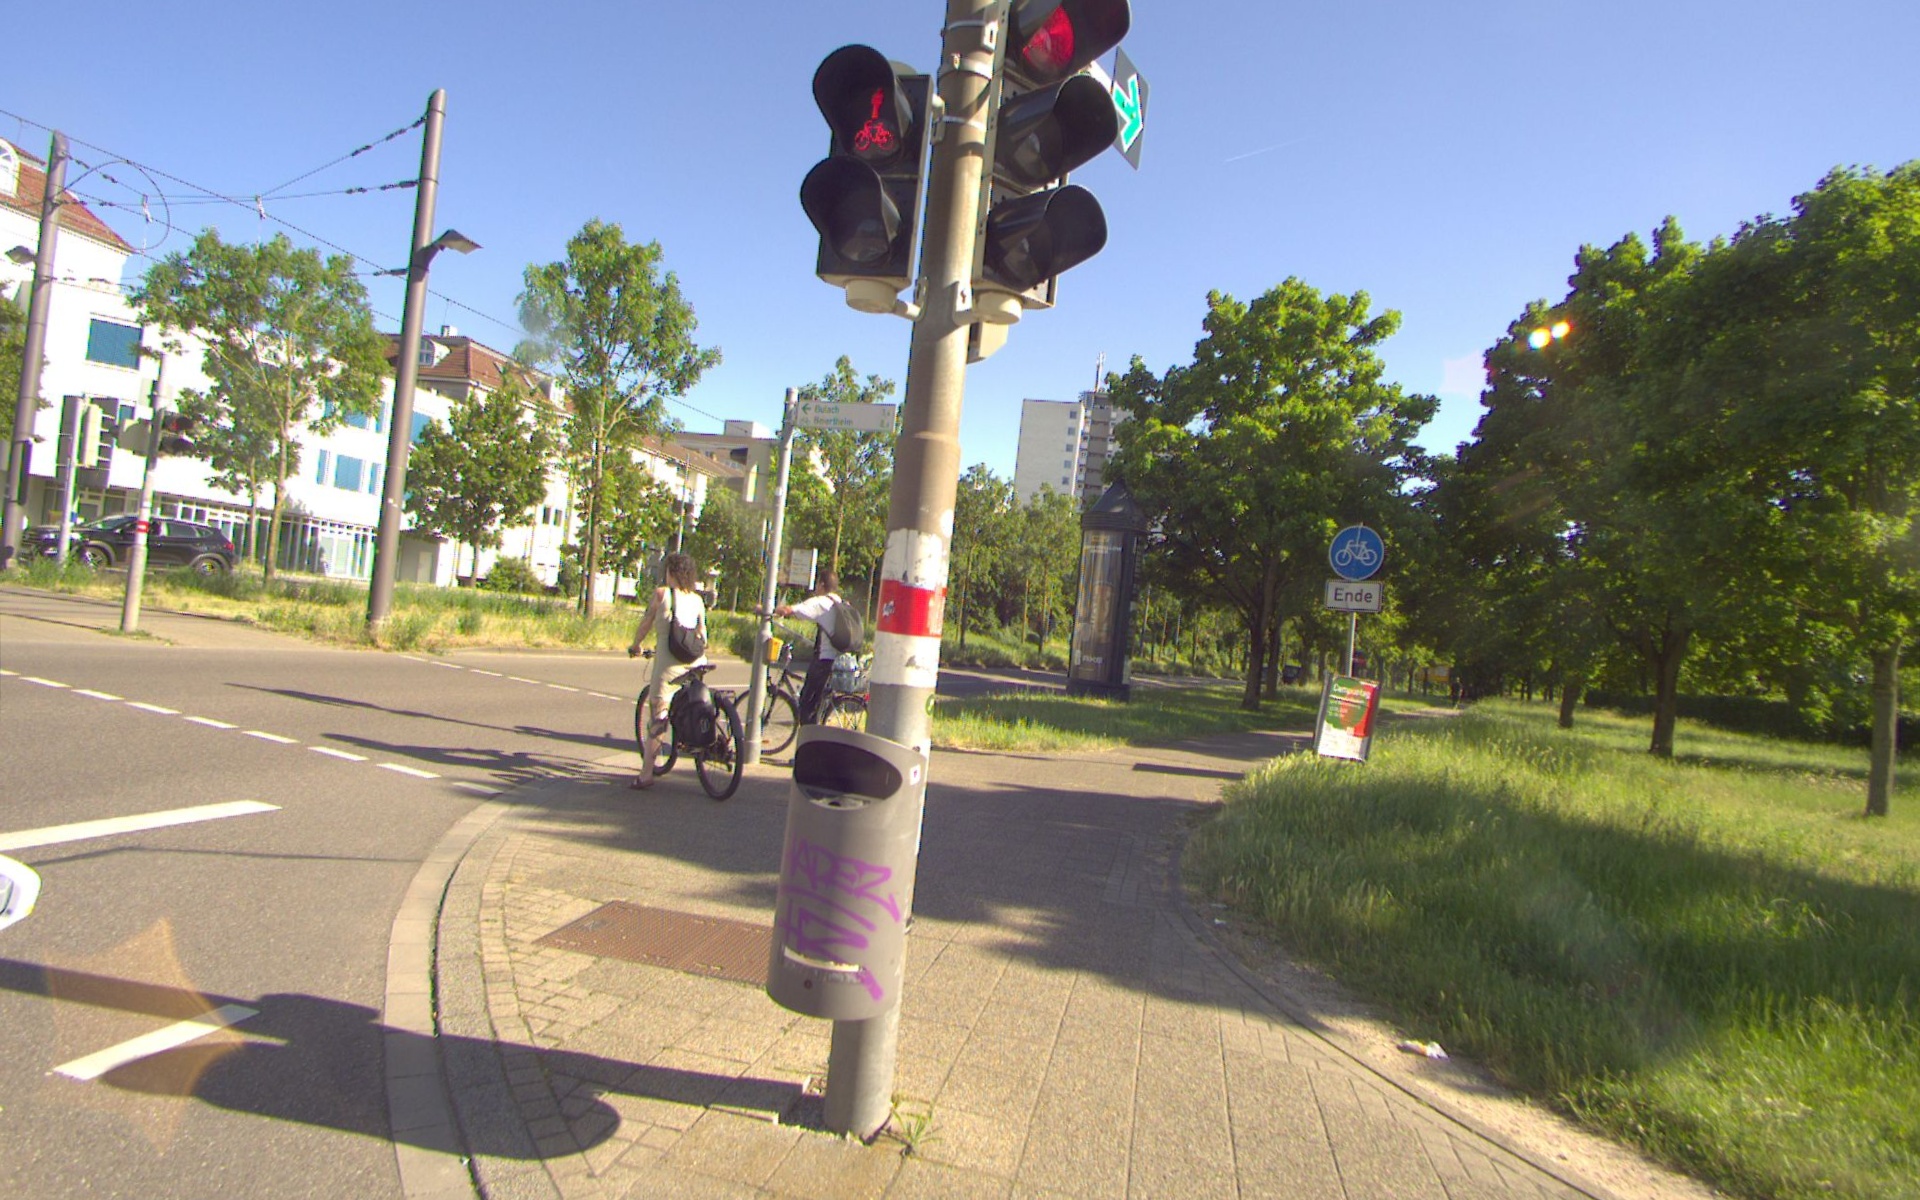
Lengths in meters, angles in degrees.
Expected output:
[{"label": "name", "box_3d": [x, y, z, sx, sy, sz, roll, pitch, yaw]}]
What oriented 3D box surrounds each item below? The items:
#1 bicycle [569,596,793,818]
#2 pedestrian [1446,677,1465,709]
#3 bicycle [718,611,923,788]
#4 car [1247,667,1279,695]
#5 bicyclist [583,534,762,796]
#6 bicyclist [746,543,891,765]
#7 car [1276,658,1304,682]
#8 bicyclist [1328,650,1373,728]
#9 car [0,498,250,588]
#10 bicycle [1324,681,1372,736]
[{"label": "bicycle", "box_3d": [-2.188, 0.740, 7.658, 0.786, 1.364, 2.057, 6, -1, -38]}, {"label": "pedestrian", "box_3d": [29.026, 5.459, 58.931, 0.725, 1.747, 0.889, 6, 0, 17]}, {"label": "bicycle", "box_3d": [-1.394, 0.890, 9.602, 0.786, 1.364, 2.239, 6, -1, -38]}, {"label": "car", "box_3d": [20.798, 5.555, 68.980, 1.663, 1.594, 3.876, 5, -4, 22]}, {"label": "bicyclist", "box_3d": [-2.231, 0.466, 7.752, 0.786, 1.846, 1.123, 6, 0, -39]}, {"label": "bicyclist", "box_3d": [-1.360, 0.499, 9.608, 0.786, 1.983, 1.000, 6, 0, -39]}, {"label": "car", "box_3d": [30.501, 6.502, 92.820, 1.733, 1.819, 4.500, 5, -4, 26]}, {"label": "bicyclist", "box_3d": [8.595, 1.940, 22.135, 0.662, 1.605, 1.003, 6, 0, 29]}, {"label": "car", "box_3d": [-21.296, -1.377, 25.850, 1.963, 1.628, 4.516, 6, -2, 22]}, {"label": "bicycle", "box_3d": [8.561, 2.369, 22.151, 0.662, 1.068, 1.809, 6, -1, 29]}]
